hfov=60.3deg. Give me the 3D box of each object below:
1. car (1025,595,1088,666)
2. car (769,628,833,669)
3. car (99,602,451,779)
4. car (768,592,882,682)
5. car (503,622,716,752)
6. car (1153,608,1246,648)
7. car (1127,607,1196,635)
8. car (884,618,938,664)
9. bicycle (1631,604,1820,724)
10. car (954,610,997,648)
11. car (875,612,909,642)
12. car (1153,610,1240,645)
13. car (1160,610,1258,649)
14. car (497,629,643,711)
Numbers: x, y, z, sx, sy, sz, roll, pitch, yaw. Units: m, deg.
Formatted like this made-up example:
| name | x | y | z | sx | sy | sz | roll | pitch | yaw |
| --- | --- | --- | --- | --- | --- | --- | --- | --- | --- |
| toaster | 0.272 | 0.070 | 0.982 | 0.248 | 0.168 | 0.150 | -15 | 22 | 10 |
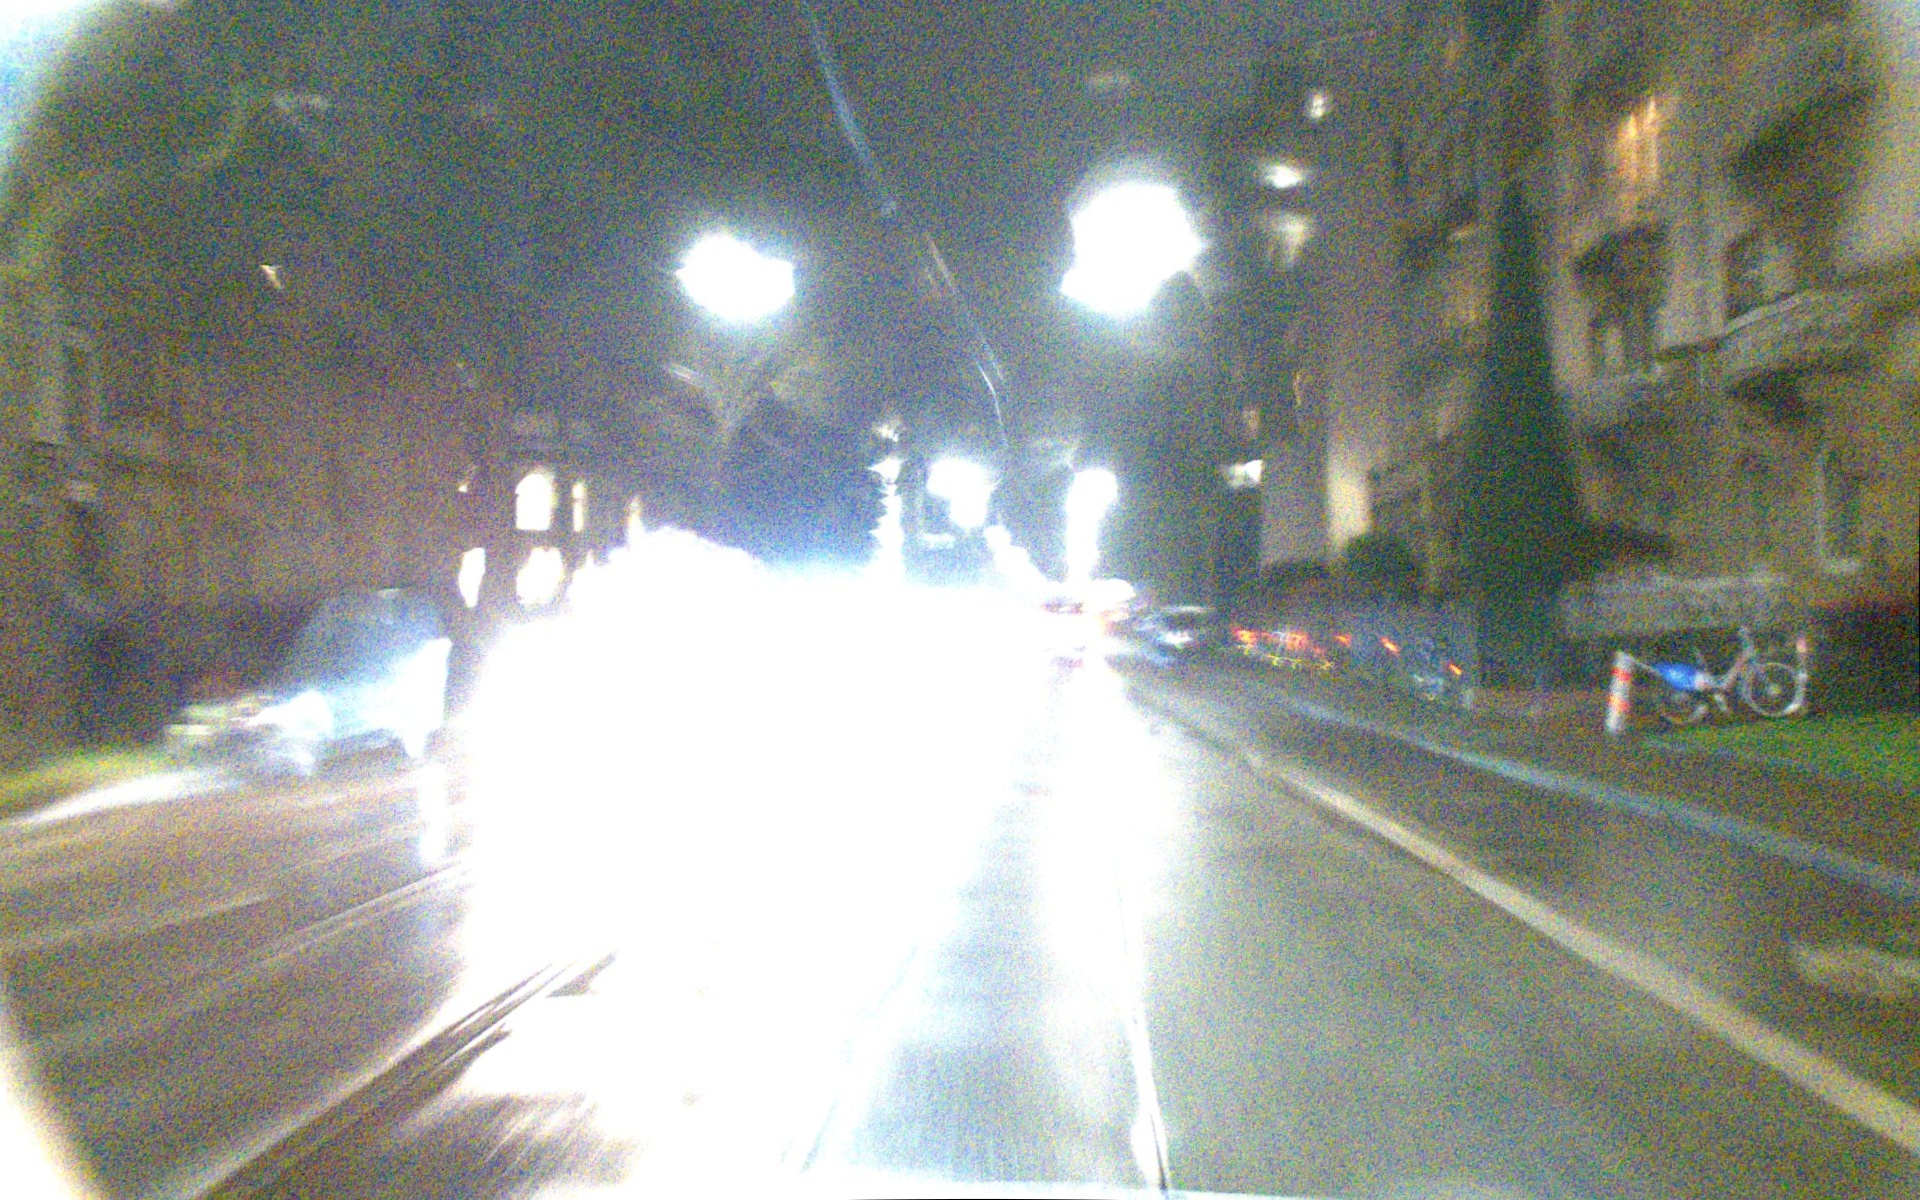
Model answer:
| name | x | y | z | sx | sy | sz | roll | pitch | yaw |
| --- | --- | --- | --- | --- | --- | --- | --- | --- | --- |
| car | 3.475 | 1.092 | 60.659 | 2.171 | 2.484 | 5.385 | 0 | -1 | 2 |
| car | -5.752 | 1.771 | 60.175 | 1.633 | 1.411 | 4.003 | 1 | -1 | 5 |
| car | -8.368 | 0.994 | 20.878 | 1.952 | 1.857 | 5.311 | 2 | 0 | 3 |
| car | -3.138 | 0.833 | 39.394 | 1.885 | 1.912 | 4.640 | -3 | 0 | 4 |
| car | -4.587 | 1.096 | 22.215 | 1.755 | 1.490 | 3.903 | -2 | 0 | 4 |
| car | 9.770 | 1.133 | 67.417 | 3.826 | 1.514 | 1.778 | 0 | -1 | -44 |
| car | 11.527 | 1.182 | 94.539 | 3.848 | 1.560 | 1.797 | 0 | -1 | -38 |
| car | -1.721 | 1.447 | 59.412 | 1.617 | 1.505 | 4.206 | -3 | 0 | 2 |
| bicycle | 8.481 | 0.711 | 18.353 | 1.776 | 1.184 | 0.493 | -4 | -2 | 1 |
| car | 0.849 | 1.493 | 87.255 | 1.898 | 1.847 | 4.387 | -3 | 0 | 5 |
| car | -3.705 | 1.464 | 90.380 | 1.607 | 1.533 | 3.620 | 0 | 1 | 1 |
| car | 10.129 | 1.169 | 70.704 | 3.801 | 1.464 | 1.576 | 1 | -1 | -41 |
| car | 9.724 | 1.151 | 64.521 | 3.752 | 1.484 | 1.745 | 1 | -1 | -39 |
| car | -7.539 | 1.319 | 32.364 | 1.729 | 1.431 | 4.142 | 1 | -1 | 2 |
